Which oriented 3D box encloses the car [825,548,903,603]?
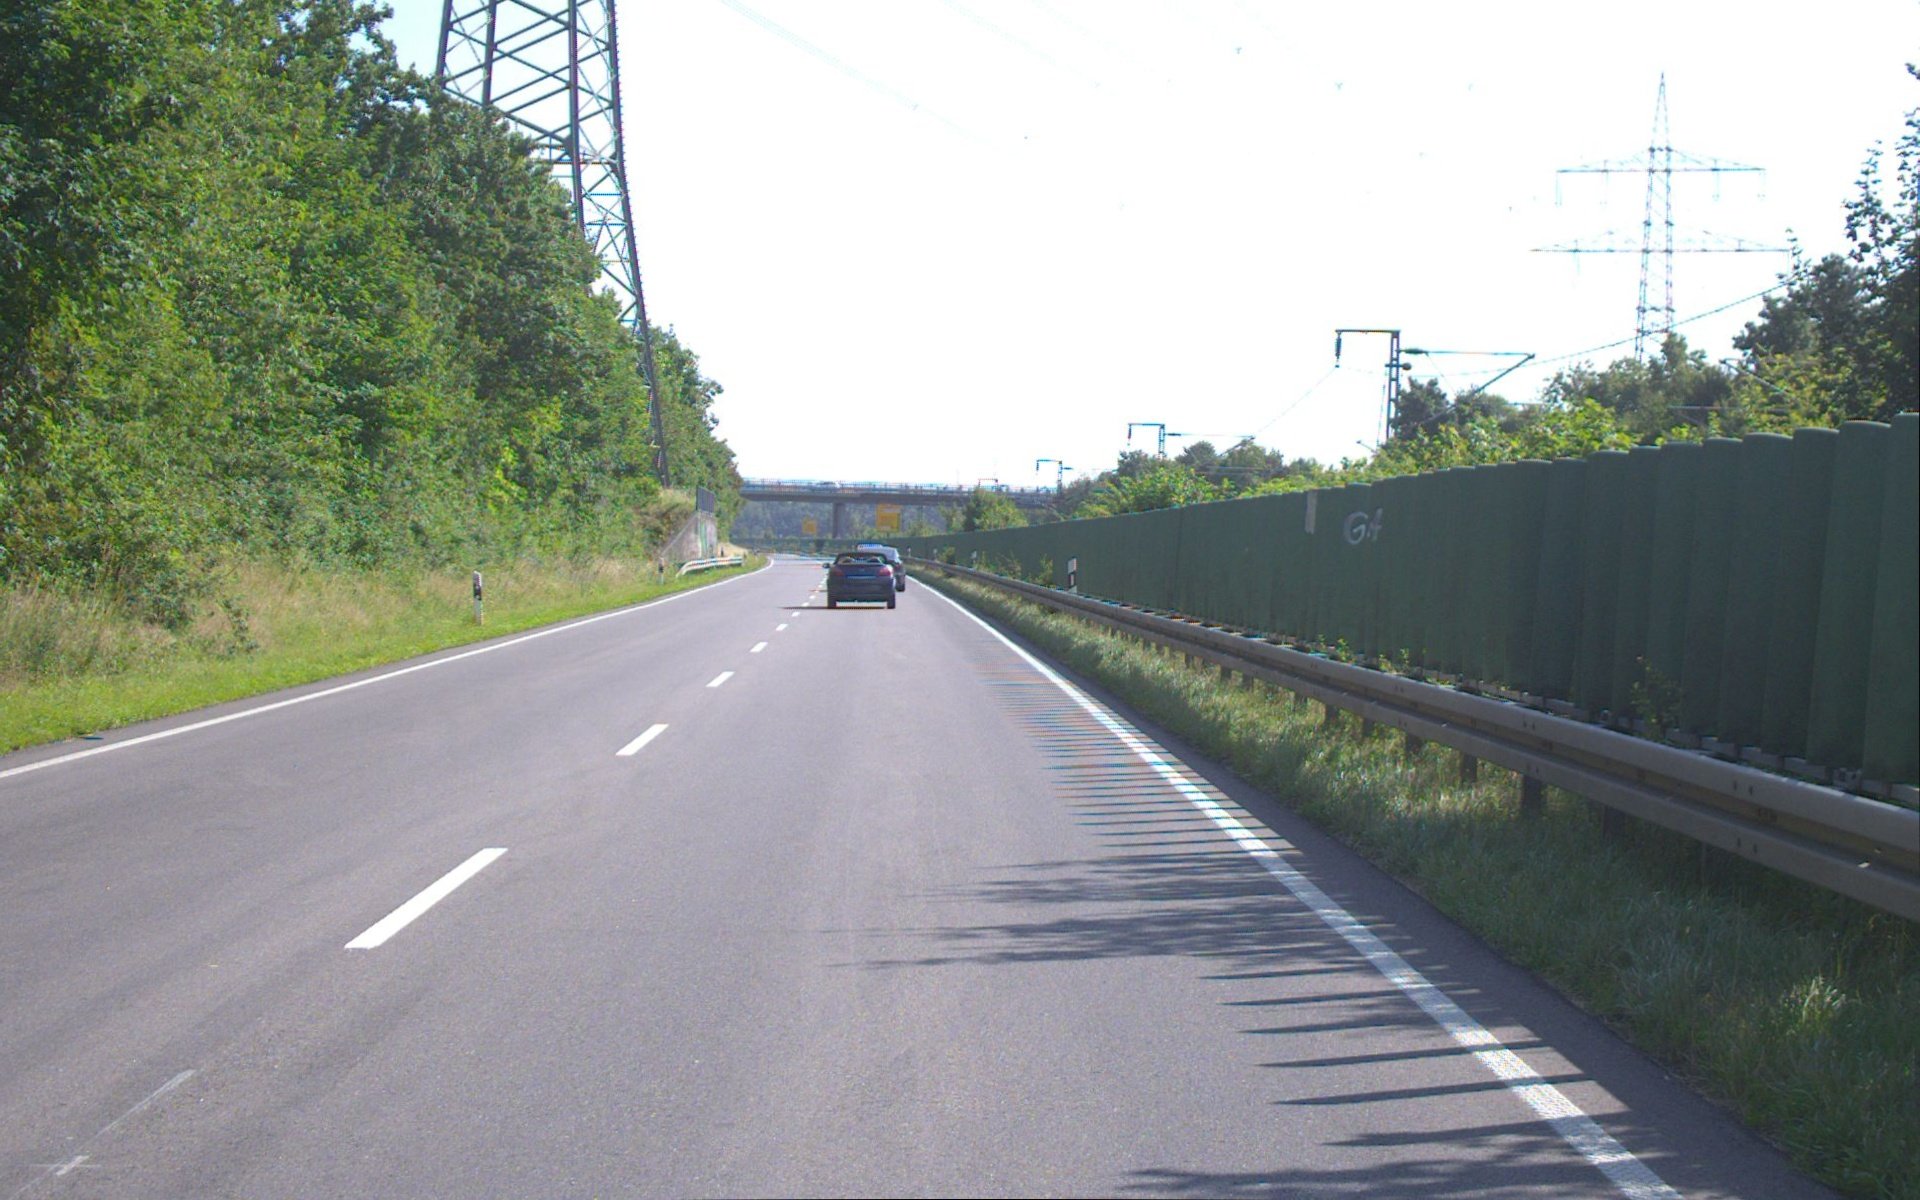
[{"bbox_3d":[-2.335,-0.596,82.935,1.663,1.257,4.001,1,1,-4],"label":"car"}]
